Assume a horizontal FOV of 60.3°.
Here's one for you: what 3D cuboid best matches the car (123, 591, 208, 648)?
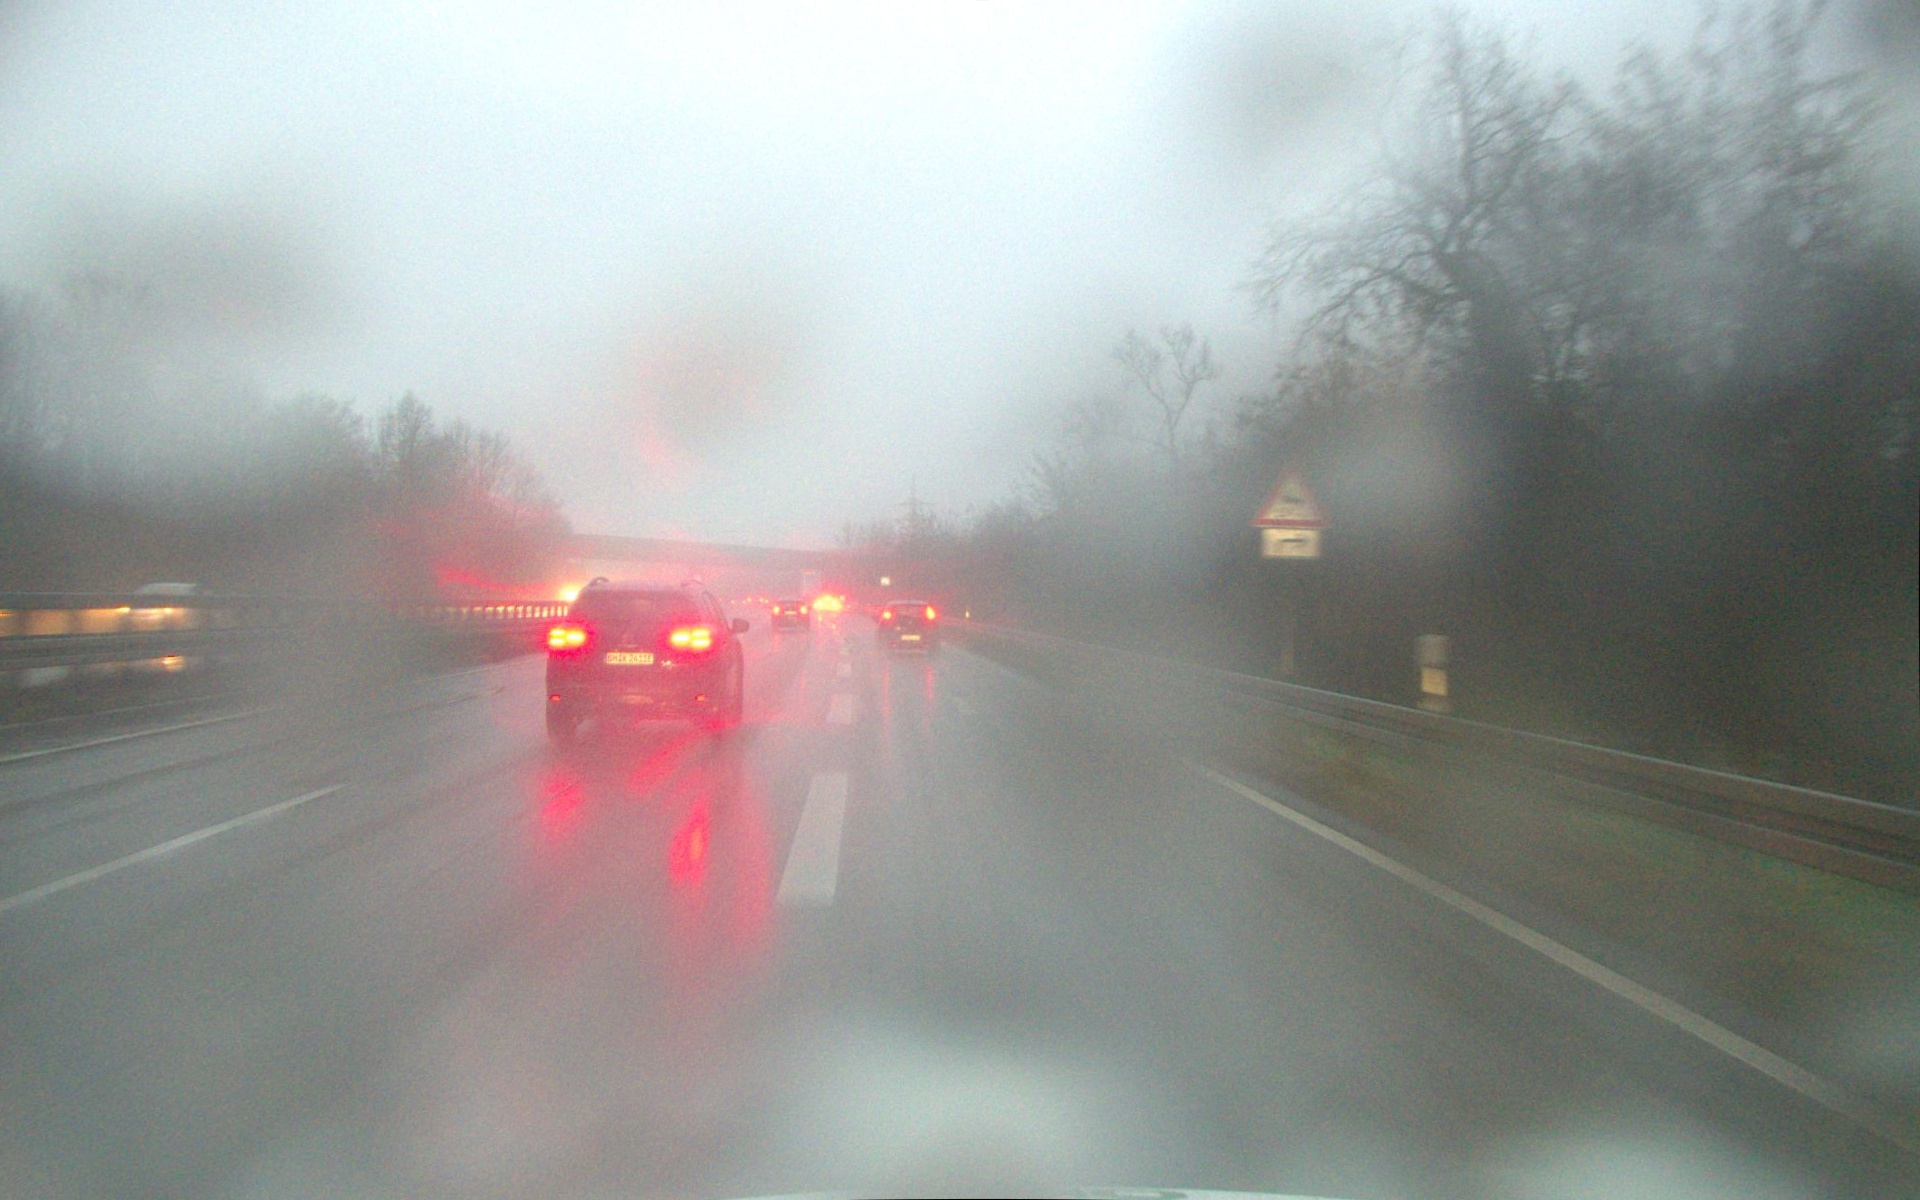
[{"bbox_3d":[-22.695,0.535,47.347,1.717,1.513,3.977,2,0,-20],"label":"car"}]

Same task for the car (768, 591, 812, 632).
[{"bbox_3d":[-7.714,0.477,74.654,1.843,1.645,3.869,2,1,-7],"label":"car"}]

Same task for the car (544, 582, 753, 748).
[{"bbox_3d":[-3.435,0.662,18.943,1.955,1.694,3.996,0,0,-5],"label":"car"}]

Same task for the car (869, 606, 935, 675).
[{"bbox_3d":[-1.636,1.079,45.559,1.698,1.453,3.765,1,5,-4],"label":"car"}]
